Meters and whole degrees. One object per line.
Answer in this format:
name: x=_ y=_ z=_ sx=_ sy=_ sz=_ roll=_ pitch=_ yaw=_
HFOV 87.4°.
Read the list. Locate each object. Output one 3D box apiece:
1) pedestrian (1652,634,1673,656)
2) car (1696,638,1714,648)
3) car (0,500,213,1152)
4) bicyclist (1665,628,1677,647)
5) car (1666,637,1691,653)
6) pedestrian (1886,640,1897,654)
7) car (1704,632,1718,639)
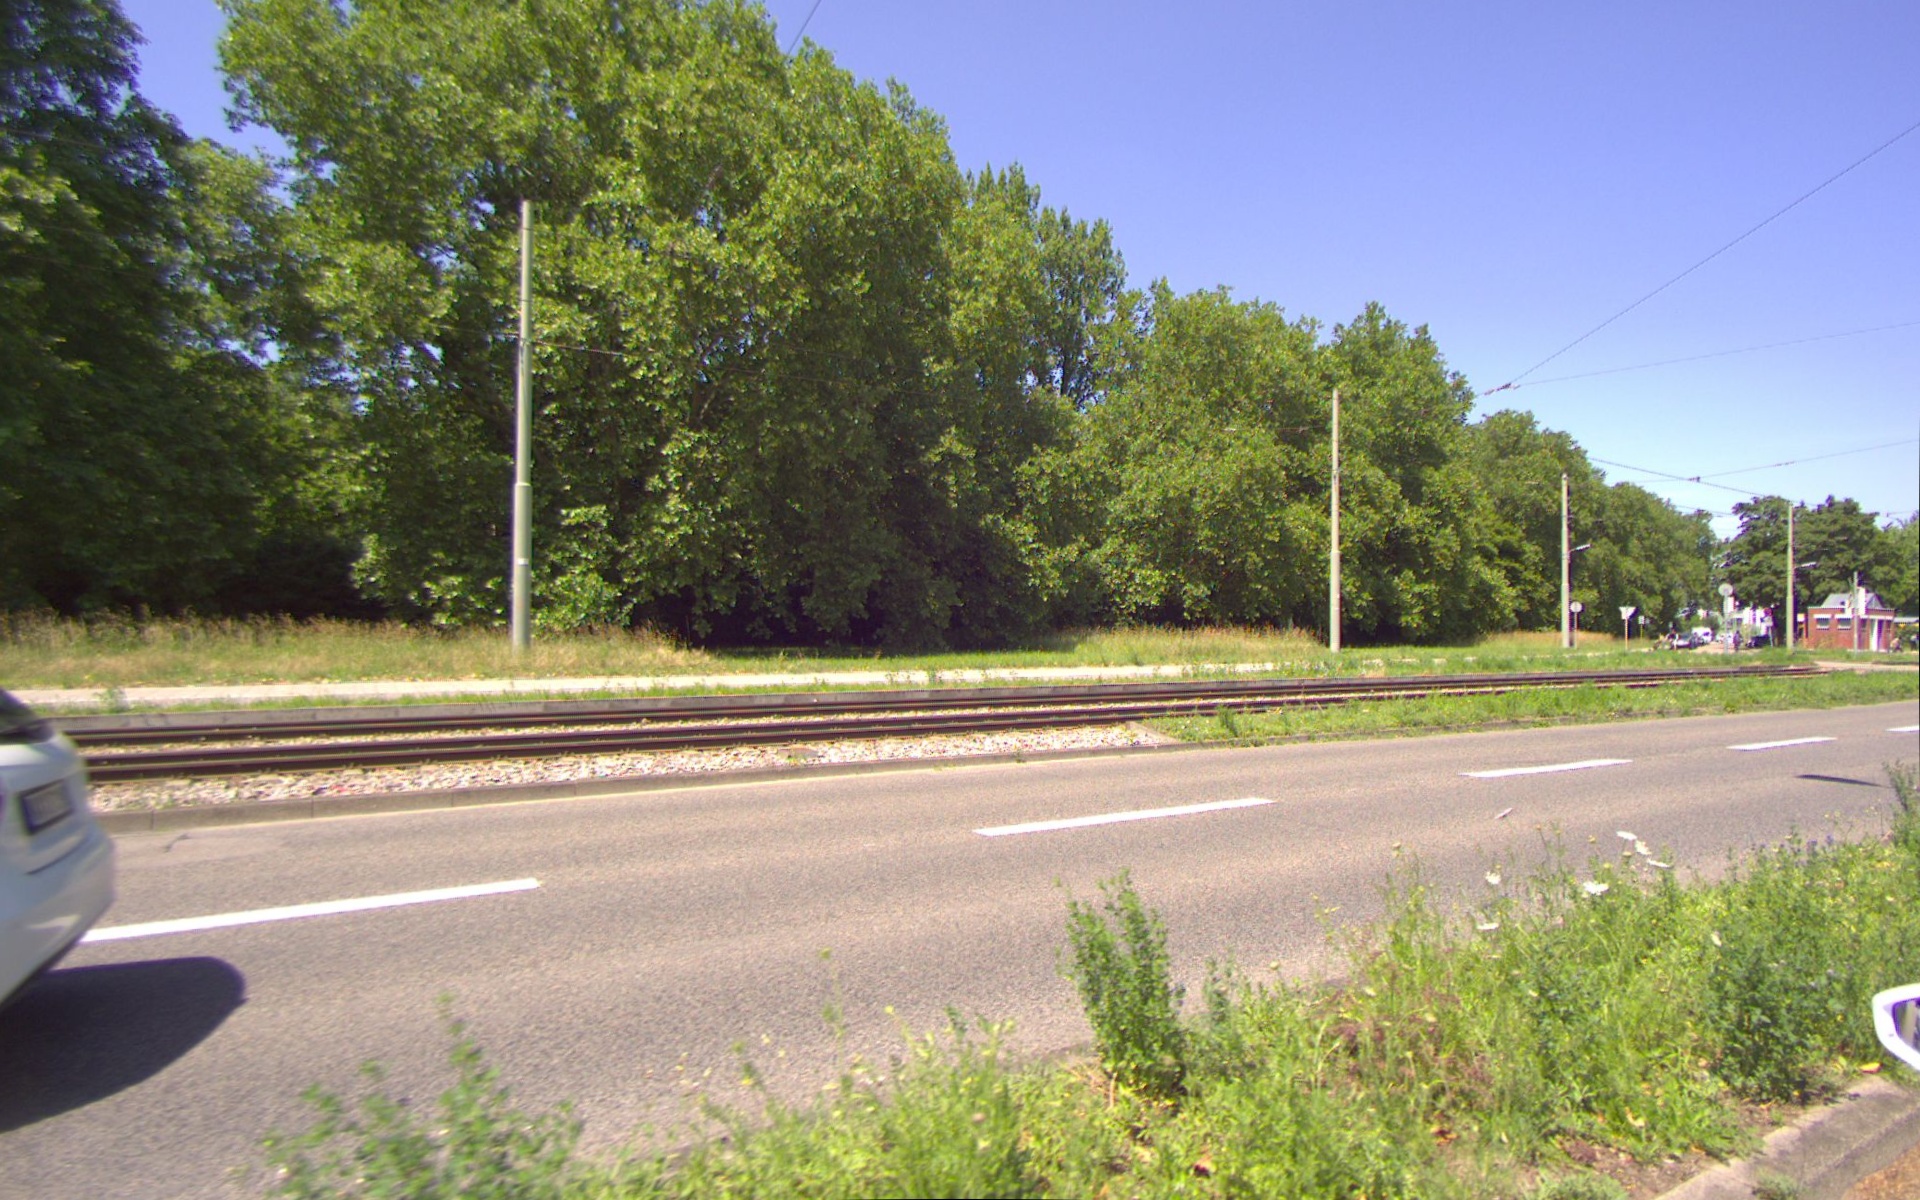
pedestrian: x=56.032 y=3.554 z=80.122 sx=1.245 sy=1.724 sz=0.518 roll=1 pitch=-1 yaw=12
car: x=120.031 y=6.925 z=161.740 sx=1.971 sy=1.486 sz=3.979 roll=0 pitch=-1 yaw=42
car: x=-4.581 y=0.598 z=2.613 sx=3.990 sy=1.761 sz=1.821 roll=2 pitch=-3 yaw=-30
bicyclist: x=50.592 y=2.688 z=71.460 sx=0.675 sy=1.353 sz=0.504 roll=2 pitch=-1 yaw=-39
car: x=70.649 y=4.424 z=98.754 sx=1.968 sy=1.486 sz=3.986 roll=1 pitch=-1 yaw=36
pedestrian: x=70.958 y=3.556 z=76.520 sx=0.516 sy=1.032 sz=0.479 roll=1 pitch=-1 yaw=-31
car: x=148.671 y=7.029 z=198.812 sx=1.971 sy=1.486 sz=3.979 roll=0 pitch=-1 yaw=42
